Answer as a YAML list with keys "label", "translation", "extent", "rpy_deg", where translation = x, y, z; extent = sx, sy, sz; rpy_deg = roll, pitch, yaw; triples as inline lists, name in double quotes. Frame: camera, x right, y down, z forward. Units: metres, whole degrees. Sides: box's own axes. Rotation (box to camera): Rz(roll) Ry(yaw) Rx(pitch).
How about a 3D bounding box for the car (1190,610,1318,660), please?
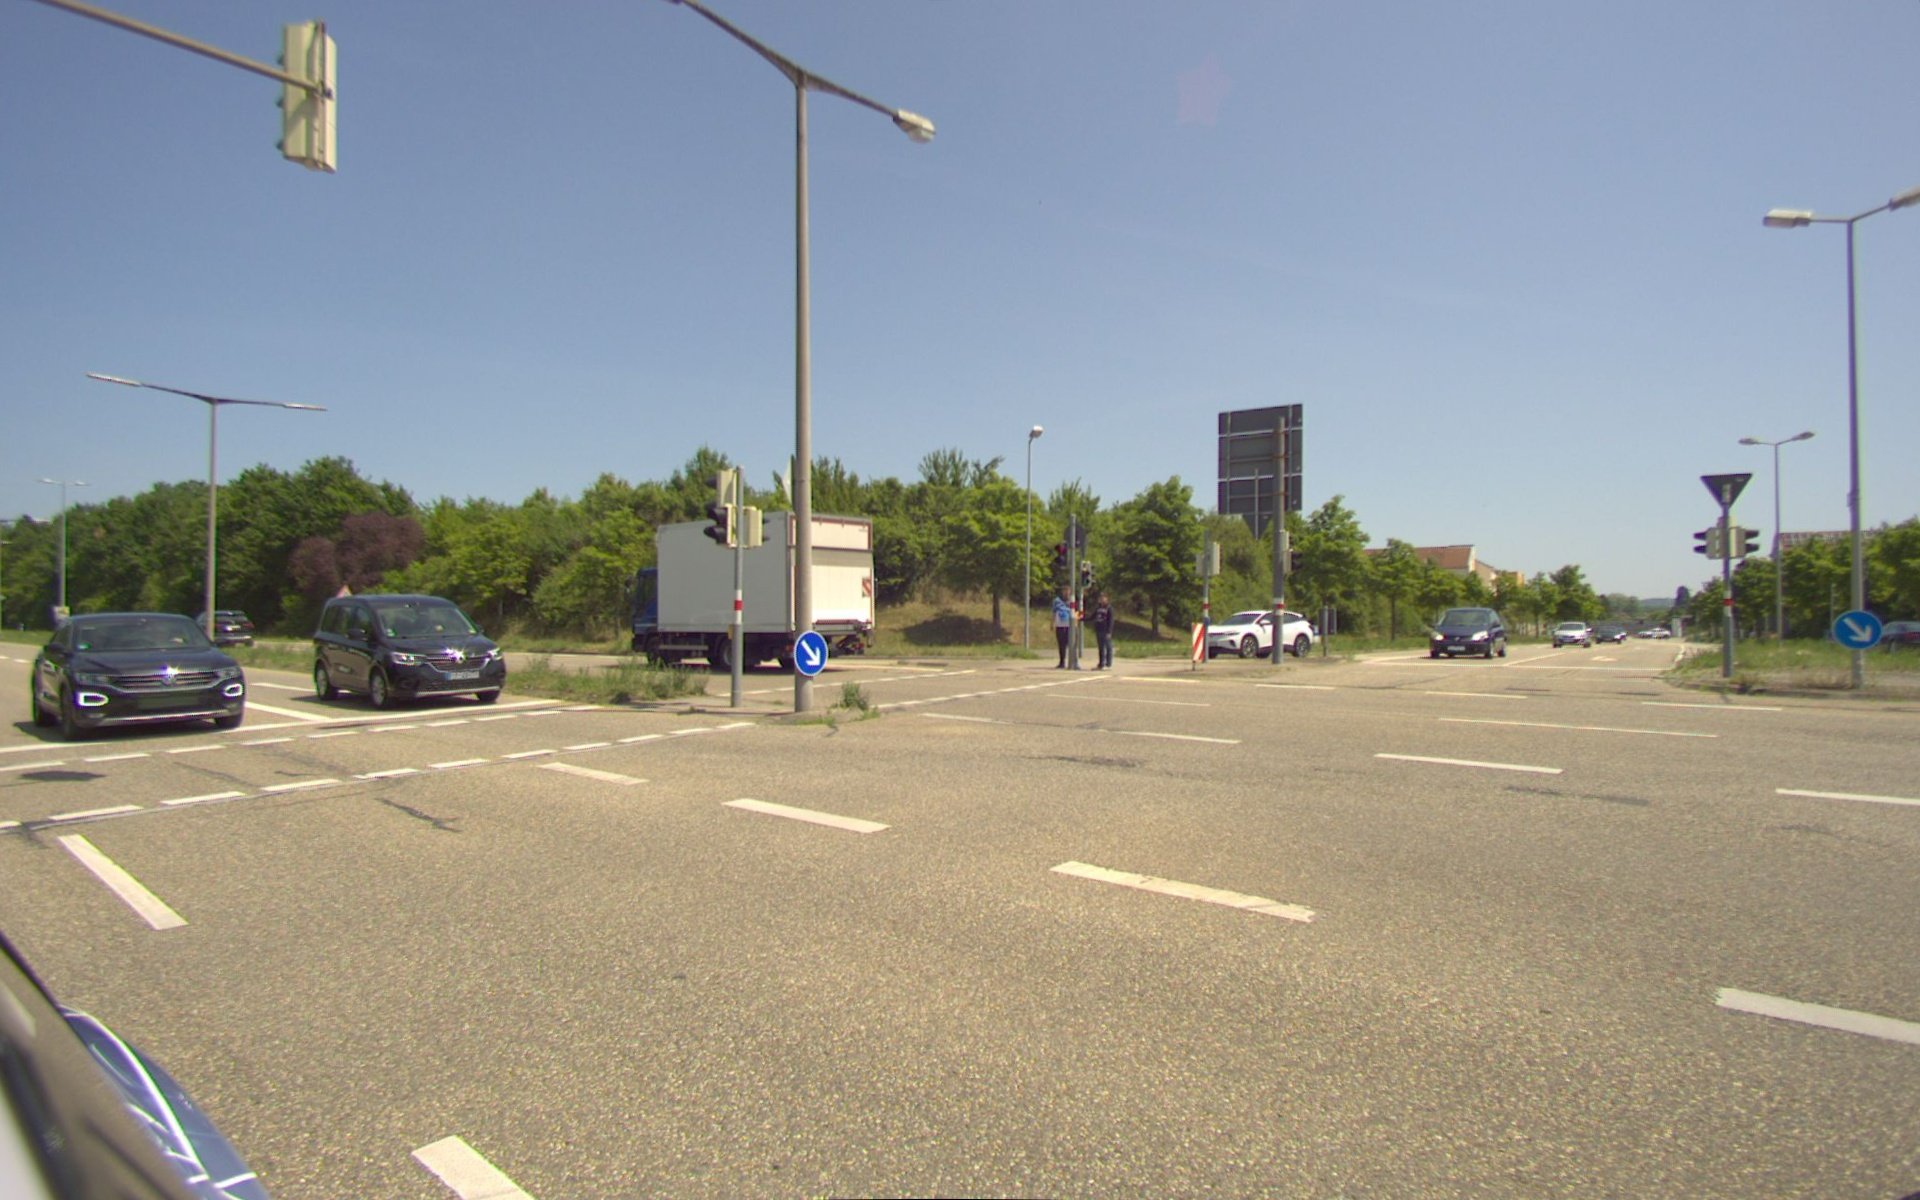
- label: "car"
  translation: [9.796, 1.203, 33.662]
  extent: [4.239, 1.513, 1.883]
  rpy_deg: [2, -5, -37]

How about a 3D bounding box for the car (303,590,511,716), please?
- label: "car"
  translation: [-9.292, 0.818, 16.844]
  extent: [4.320, 1.840, 1.713]
  rpy_deg: [-1, -1, 42]

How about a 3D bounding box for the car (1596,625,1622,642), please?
- label: "car"
  translation: [53.202, 2.707, 82.943]
  extent: [1.630, 1.371, 3.951]
  rpy_deg: [-1, -2, 36]

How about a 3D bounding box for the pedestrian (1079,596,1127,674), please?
- label: "pedestrian"
  translation: [3.190, 0.775, 22.619]
  extent: [0.712, 1.712, 0.777]
  rpy_deg: [0, -1, -30]

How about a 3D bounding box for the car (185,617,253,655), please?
- label: "car"
  translation: [-33.928, 1.620, 46.331]
  extent: [4.222, 1.676, 1.688]
  rpy_deg: [-2, -2, 42]

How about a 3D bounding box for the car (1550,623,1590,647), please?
- label: "car"
  translation: [35.206, 1.989, 58.371]
  extent: [1.630, 1.371, 3.951]
  rpy_deg: [-1, -2, 36]

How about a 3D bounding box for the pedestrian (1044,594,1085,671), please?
- label: "pedestrian"
  translation: [2.420, 0.751, 23.470]
  extent: [0.573, 1.749, 0.795]
  rpy_deg: [0, -1, -29]

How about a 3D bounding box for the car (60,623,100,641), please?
- label: "car"
  translation: [-72.551, 2.629, 83.432]
  extent: [4.164, 1.467, 1.804]
  rpy_deg: [-1, -2, 40]

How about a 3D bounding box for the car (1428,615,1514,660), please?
- label: "car"
  translation: [16.271, 1.167, 32.143]
  extent: [1.701, 1.346, 3.949]
  rpy_deg: [-1, -2, 38]

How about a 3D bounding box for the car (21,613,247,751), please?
- label: "car"
  translation: [-11.032, 0.963, 13.424]
  extent: [3.969, 1.523, 1.716]
  rpy_deg: [-1, 0, 42]

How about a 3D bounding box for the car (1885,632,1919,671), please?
- label: "car"
  translation: [36.804, 1.925, 38.286]
  extent: [1.734, 1.431, 3.960]
  rpy_deg: [-1, -2, 29]

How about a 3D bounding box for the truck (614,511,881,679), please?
- label: "truck"
  translation: [-5.442, -0.039, 25.057]
  extent: [7.264, 3.597, 2.659]
  rpy_deg: [-1, -1, 41]
